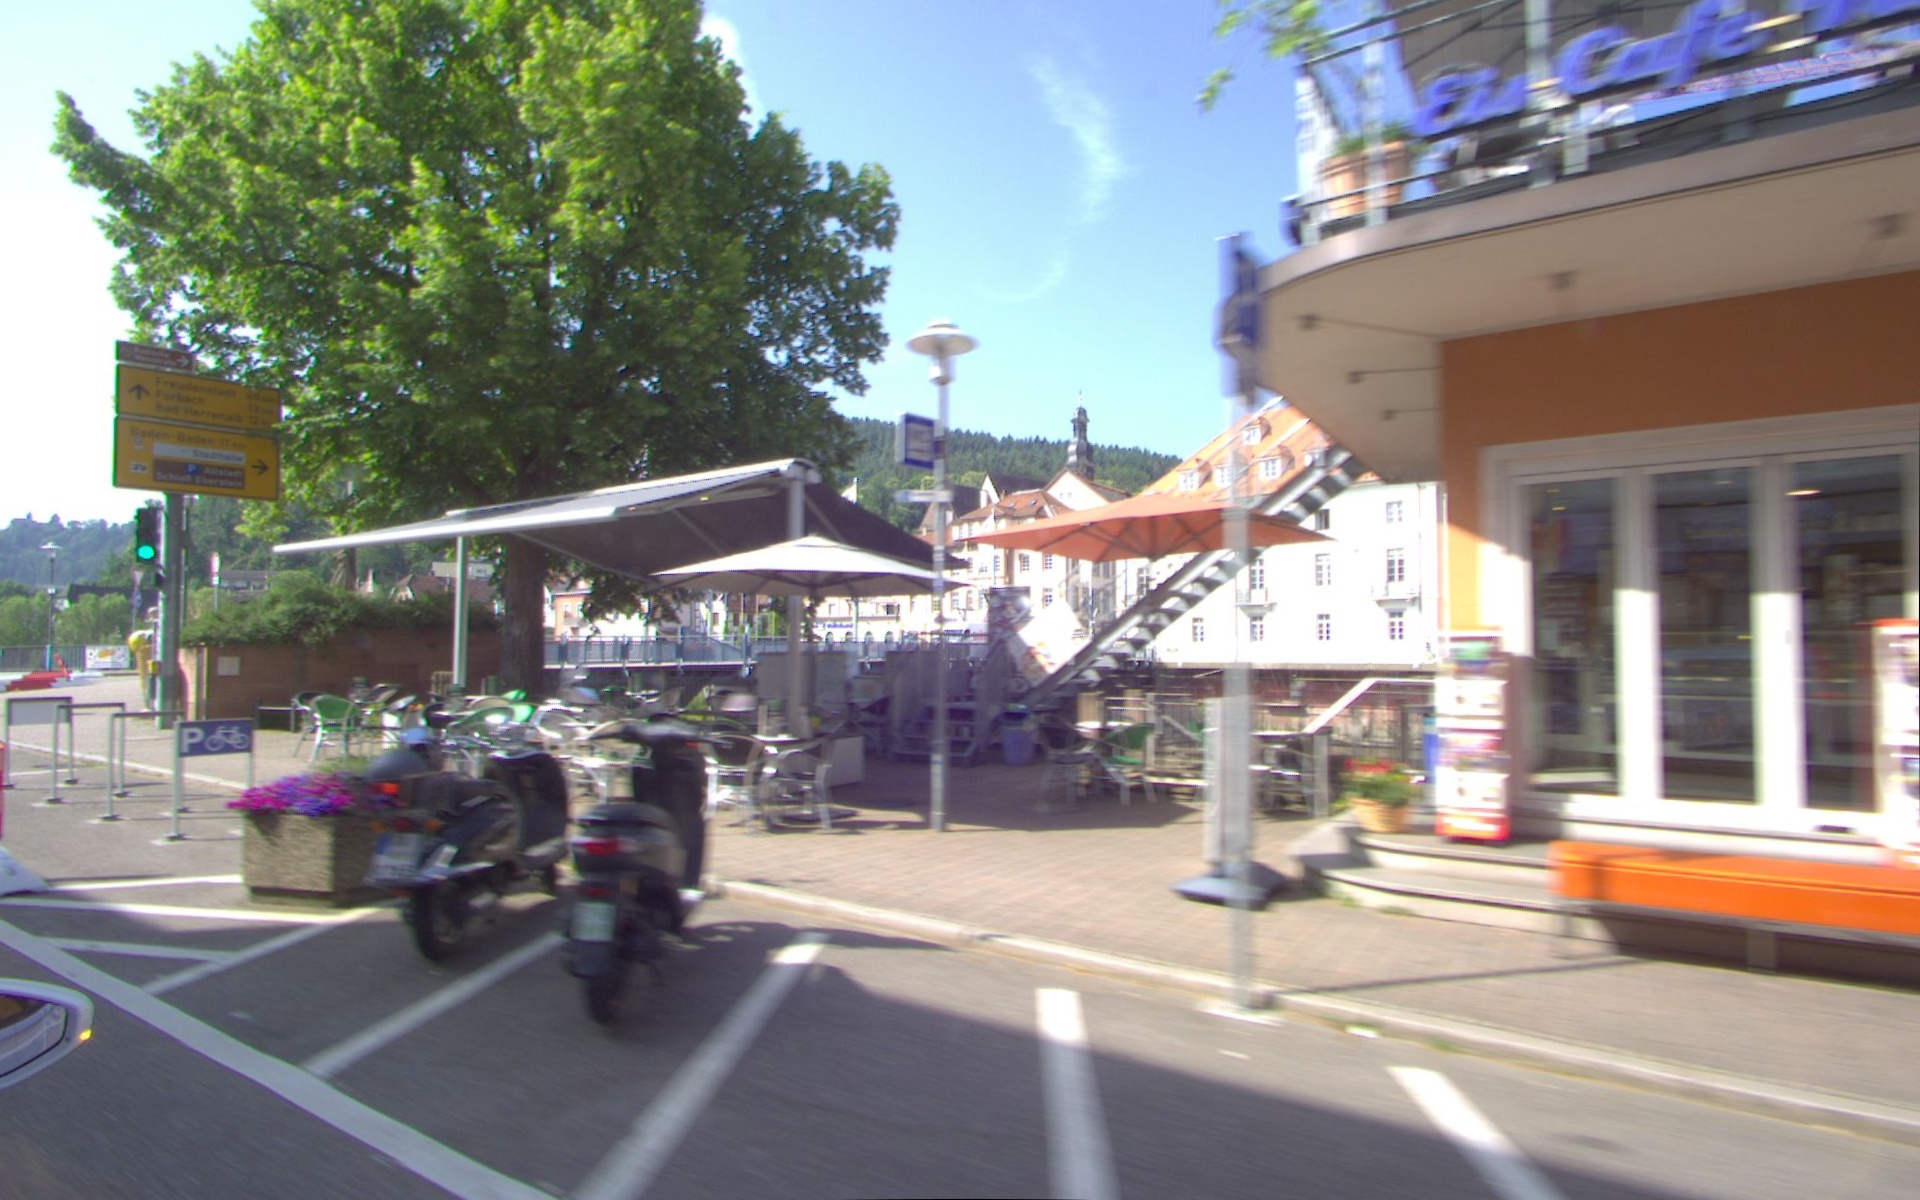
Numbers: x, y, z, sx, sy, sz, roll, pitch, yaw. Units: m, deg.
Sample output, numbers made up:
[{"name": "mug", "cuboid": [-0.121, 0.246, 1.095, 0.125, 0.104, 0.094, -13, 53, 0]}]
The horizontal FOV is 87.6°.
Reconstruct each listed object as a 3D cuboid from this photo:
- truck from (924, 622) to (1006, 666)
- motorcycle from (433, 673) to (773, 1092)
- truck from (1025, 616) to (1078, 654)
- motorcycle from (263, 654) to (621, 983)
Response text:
[{"name": "truck", "cuboid": [0.452, 2.959, 68.289, 2.083, 2.733, 7.094, -2, -2, 33]}, {"name": "motorcycle", "cuboid": [-1.363, 0.998, 4.351, 0.911, 1.286, 2.091, 1, -2, -6]}, {"name": "truck", "cuboid": [6.509, 2.513, 70.809, 1.842, 2.617, 4.237, -1, -3, 35]}, {"name": "motorcycle", "cuboid": [-2.539, 0.987, 5.244, 0.899, 1.375, 1.901, 0, -2, -1]}]
